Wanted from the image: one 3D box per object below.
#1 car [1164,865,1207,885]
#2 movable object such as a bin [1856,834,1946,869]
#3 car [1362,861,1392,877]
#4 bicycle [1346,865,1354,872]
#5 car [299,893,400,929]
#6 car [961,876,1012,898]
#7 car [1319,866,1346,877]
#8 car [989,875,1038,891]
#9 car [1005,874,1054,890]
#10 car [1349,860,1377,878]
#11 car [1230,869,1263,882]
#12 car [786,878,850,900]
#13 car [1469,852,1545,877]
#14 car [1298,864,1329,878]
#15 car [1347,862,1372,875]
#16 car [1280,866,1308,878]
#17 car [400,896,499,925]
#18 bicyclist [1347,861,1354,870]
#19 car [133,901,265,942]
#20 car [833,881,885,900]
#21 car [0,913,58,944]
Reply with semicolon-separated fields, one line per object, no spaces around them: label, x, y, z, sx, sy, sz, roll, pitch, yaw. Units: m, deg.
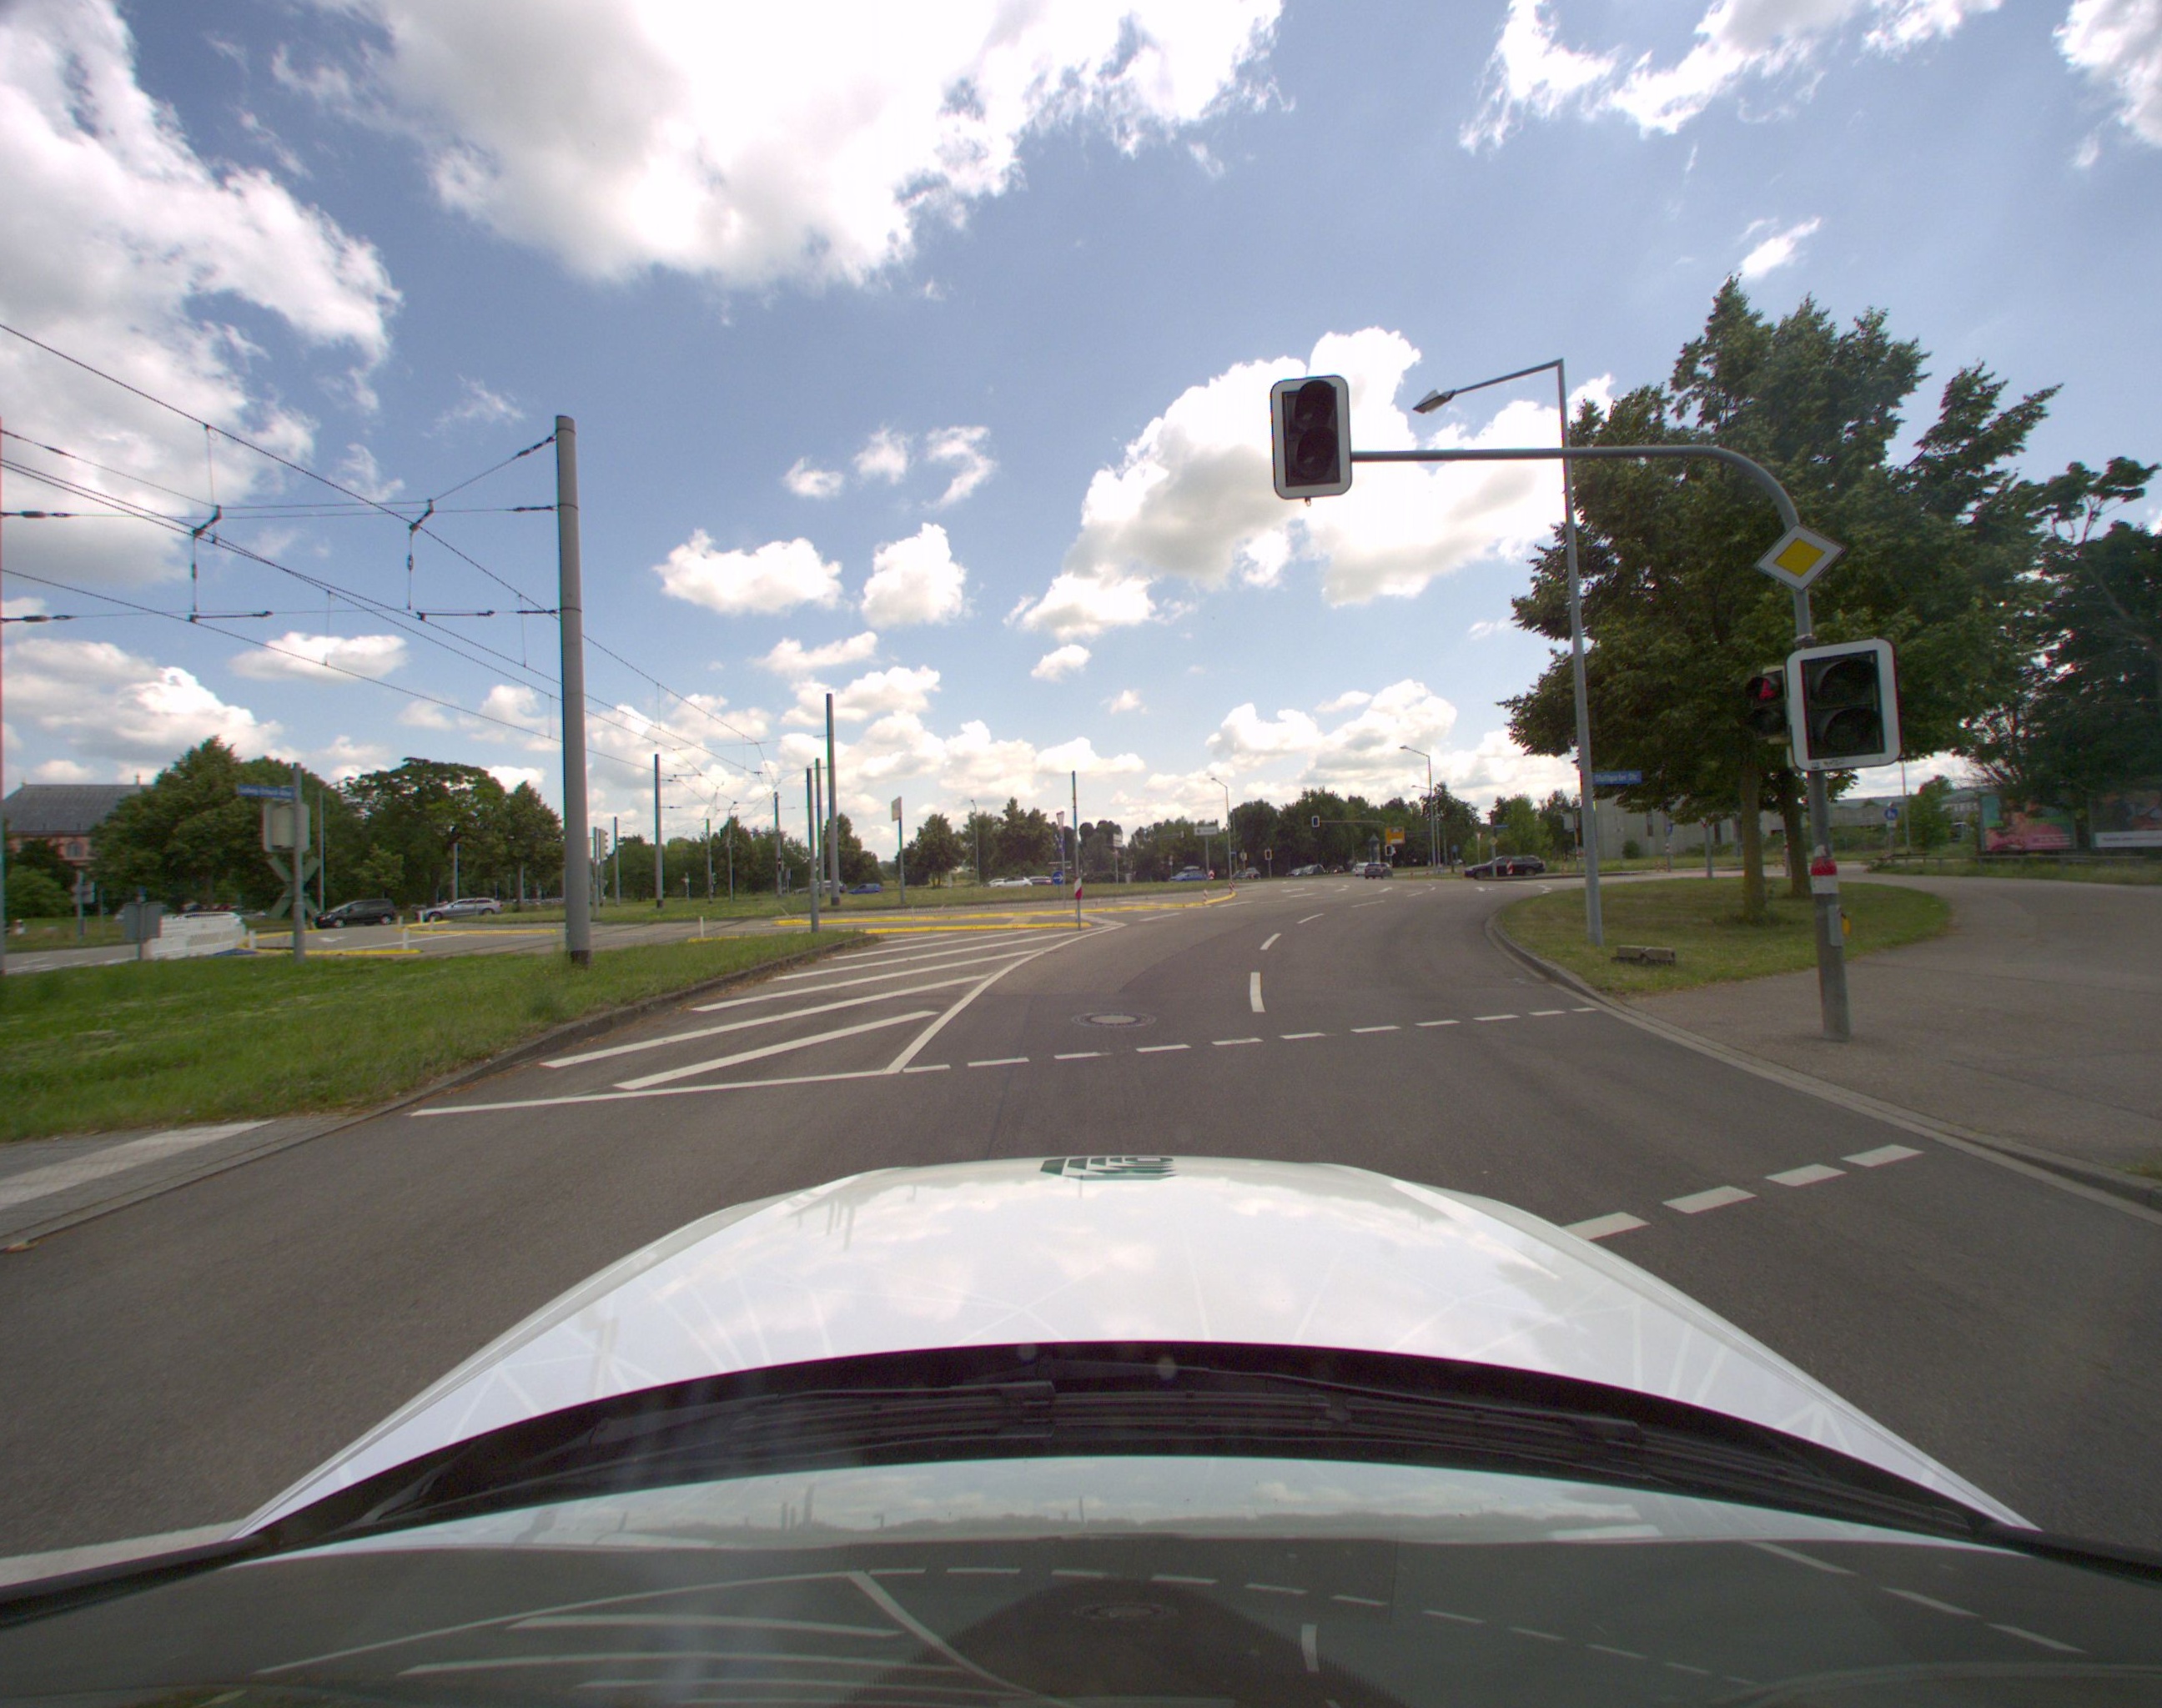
car;10.799;2.137;83.803;4.430;1.798;1.735;-2;-1;-39
movable object such as a bin;91.876;-0.279;91.281;7.583;3.853;3.042;0;-2;-7
car;30.605;1.538;84.131;1.974;1.626;4.336;-2;-2;32
bicycle;48.260;2.569;146.012;0.753;1.219;2.029;-1;-1;40
car;-48.498;3.736;54.140;1.982;2.014;4.736;-3;-1;8
car;-9.649;3.307;82.942;4.727;2.014;1.986;-2;-1;-21
car;36.704;2.551;118.605;1.820;1.311;4.817;-6;-4;42
car;-6.333;2.699;76.093;4.304;1.329;1.990;-2;-1;-15
car;-5.165;2.797;81.098;4.490;1.323;1.941;-2;-1;-19
car;33.854;1.761;97.645;1.974;2.014;4.025;-2;-1;38
car;19.948;2.592;98.070;4.001;1.340;1.781;-2;-3;-41
car;-22.906;3.032;70.877;5.078;1.675;1.984;-2;-1;-24
car;26.787;0.689;51.364;3.956;1.463;1.696;-2;-1;16
car;29.649;2.179;103.921;1.889;1.592;4.620;-4;-3;43
car;42.558;2.258;124.535;1.820;1.799;4.817;-6;-4;41
car;28.318;2.421;108.272;1.887;1.423;4.218;-4;-2;39
car;-43.229;3.832;55.882;2.040;1.626;4.975;-1;0;33
bicyclist;48.305;2.048;146.076;0.822;1.565;0.889;-1;-1;40
car;-50.641;3.838;46.879;1.975;2.014;4.752;-3;-1;24
car;-22.104;3.620;81.165;4.731;1.791;1.834;0;1;-24
car;-78.881;5.531;60.550;2.004;2.014;3.965;-2;-1;-26
